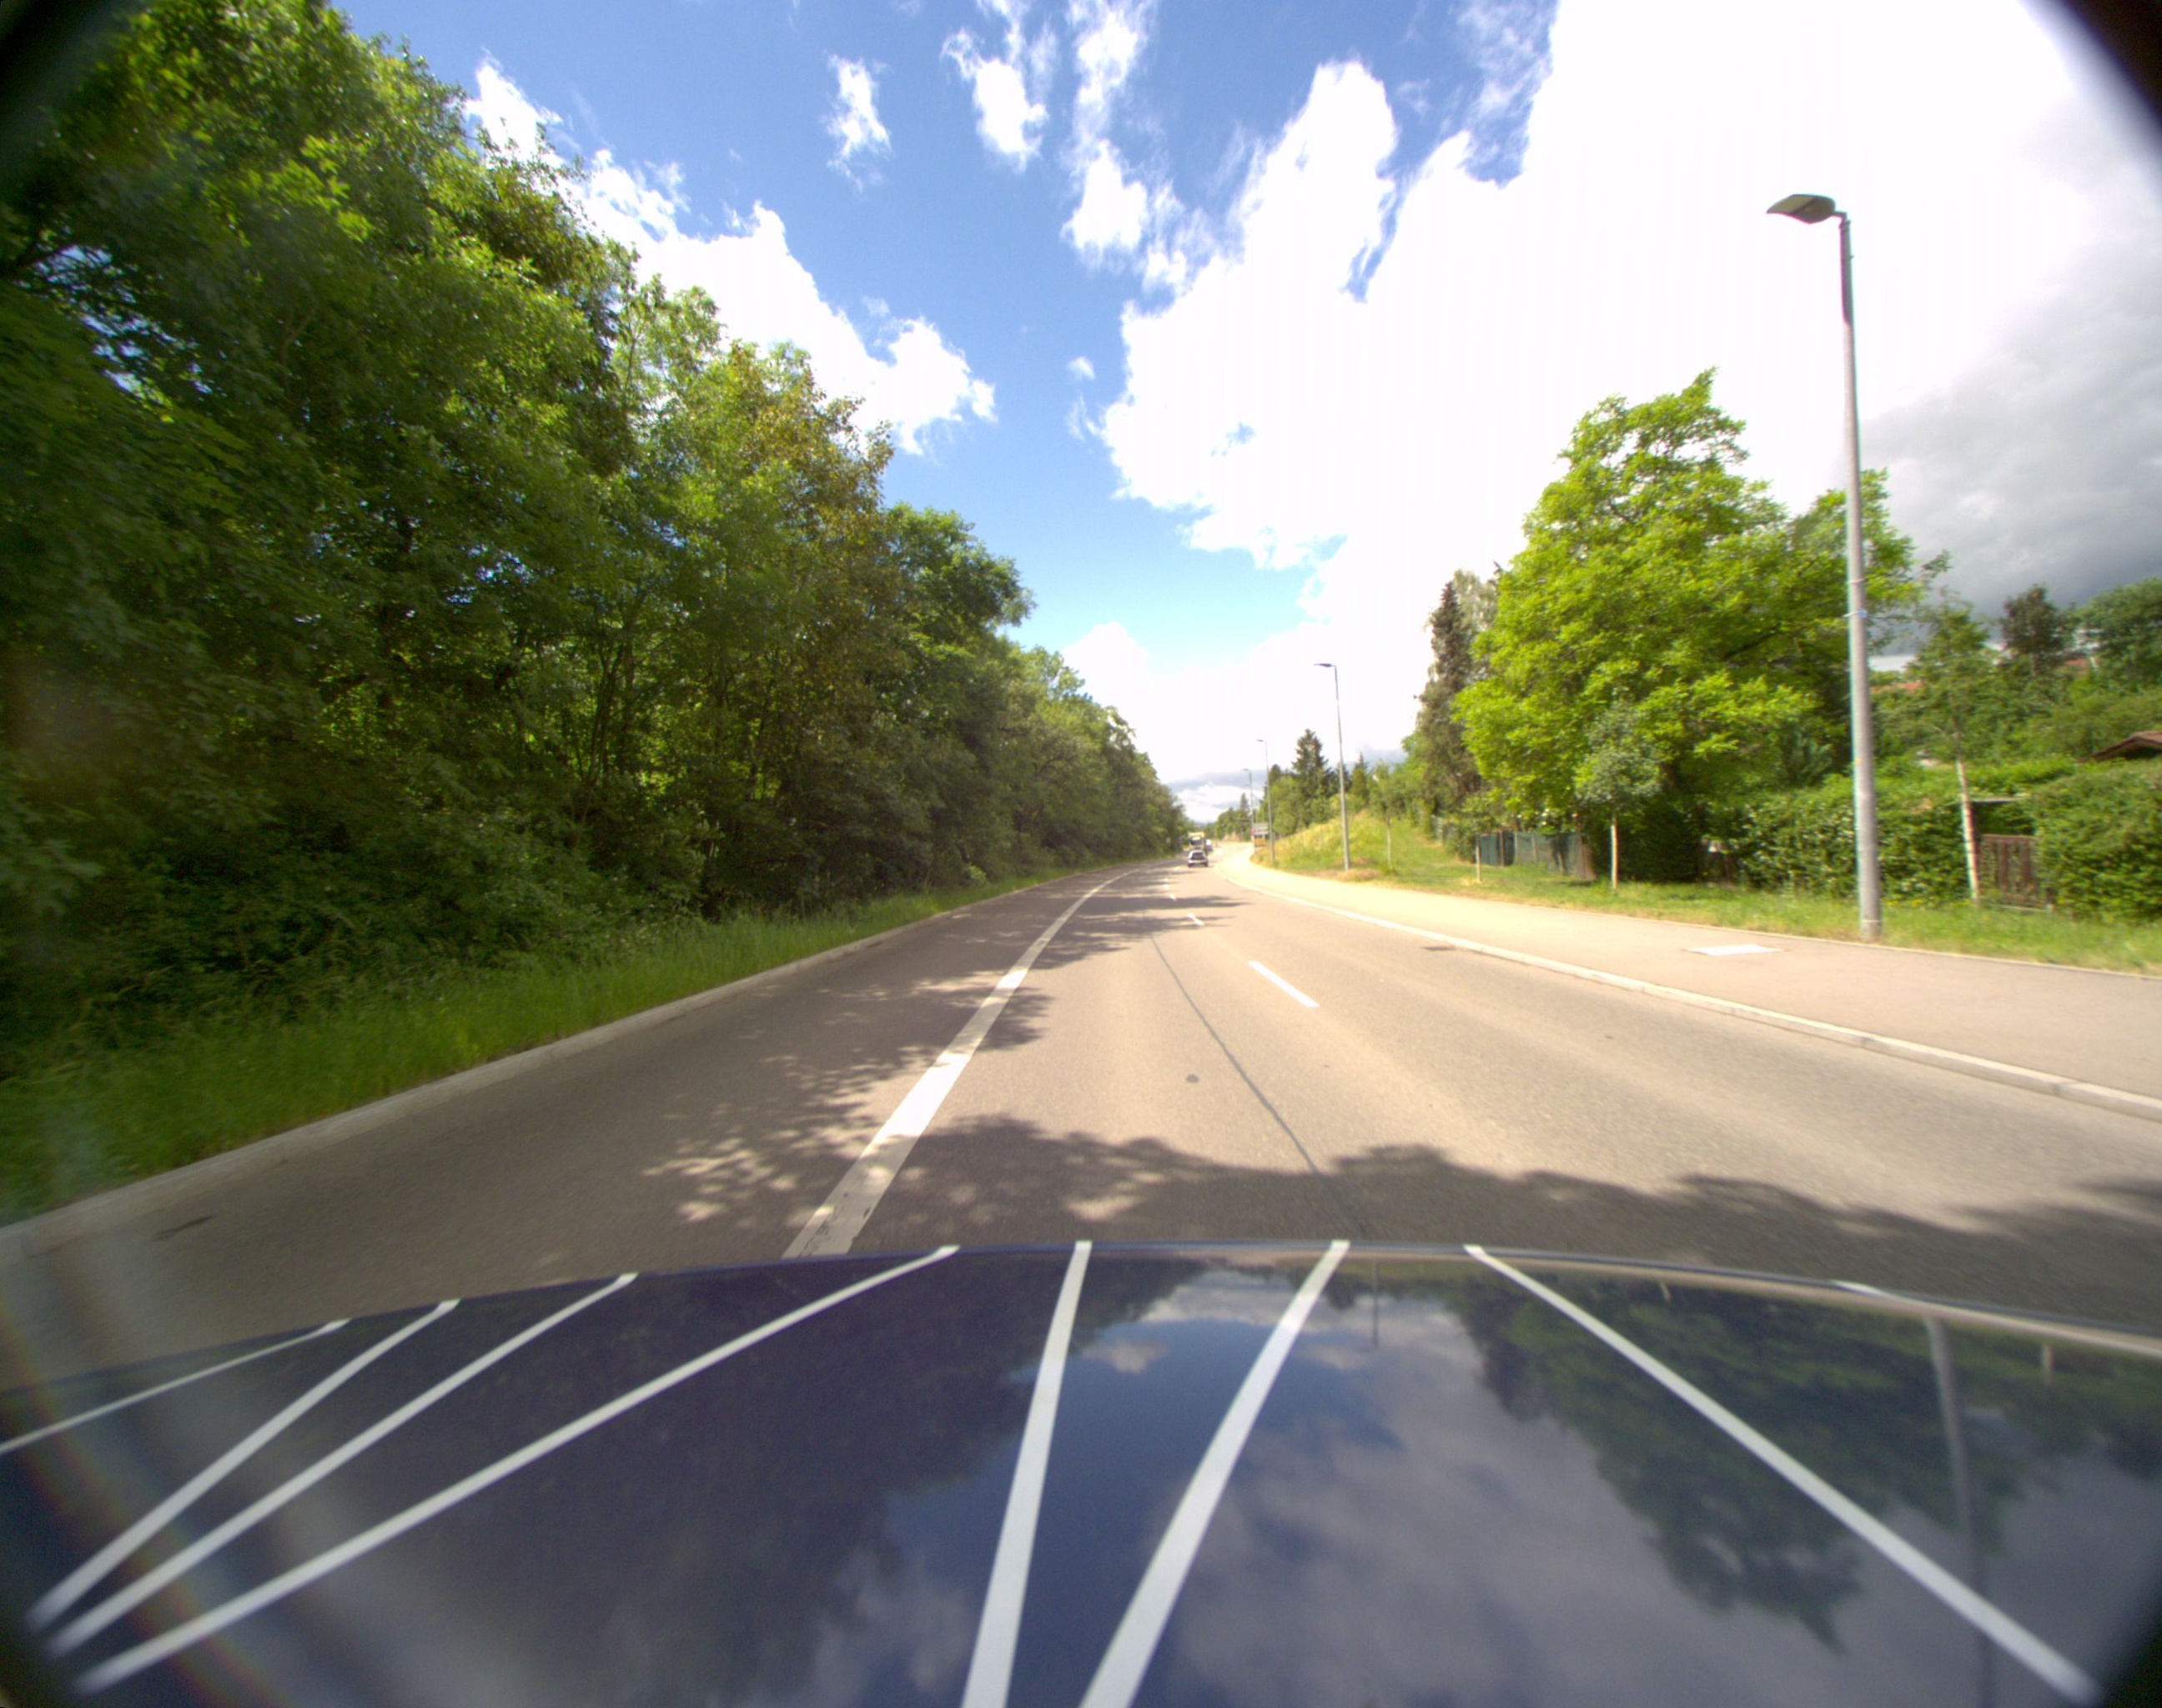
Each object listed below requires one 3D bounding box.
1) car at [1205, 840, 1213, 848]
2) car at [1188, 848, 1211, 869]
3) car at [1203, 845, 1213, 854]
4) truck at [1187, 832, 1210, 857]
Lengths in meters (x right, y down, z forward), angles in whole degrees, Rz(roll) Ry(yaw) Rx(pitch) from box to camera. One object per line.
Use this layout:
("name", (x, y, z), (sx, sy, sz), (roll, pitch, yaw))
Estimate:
("car", (36.170, -2.895, 214.980), (1.997, 2.212, 4.003), (-3, 0, 9))
("car", (10.275, 0.344, 66.326), (1.802, 1.652, 4.001), (-2, 1, 7))
("car", (27.597, -0.997, 164.715), (1.997, 2.002, 4.002), (-2, 1, 10))
("truck", (19.463, -1.632, 125.794), (3.238, 3.838, 9.880), (-2, 1, 11))
